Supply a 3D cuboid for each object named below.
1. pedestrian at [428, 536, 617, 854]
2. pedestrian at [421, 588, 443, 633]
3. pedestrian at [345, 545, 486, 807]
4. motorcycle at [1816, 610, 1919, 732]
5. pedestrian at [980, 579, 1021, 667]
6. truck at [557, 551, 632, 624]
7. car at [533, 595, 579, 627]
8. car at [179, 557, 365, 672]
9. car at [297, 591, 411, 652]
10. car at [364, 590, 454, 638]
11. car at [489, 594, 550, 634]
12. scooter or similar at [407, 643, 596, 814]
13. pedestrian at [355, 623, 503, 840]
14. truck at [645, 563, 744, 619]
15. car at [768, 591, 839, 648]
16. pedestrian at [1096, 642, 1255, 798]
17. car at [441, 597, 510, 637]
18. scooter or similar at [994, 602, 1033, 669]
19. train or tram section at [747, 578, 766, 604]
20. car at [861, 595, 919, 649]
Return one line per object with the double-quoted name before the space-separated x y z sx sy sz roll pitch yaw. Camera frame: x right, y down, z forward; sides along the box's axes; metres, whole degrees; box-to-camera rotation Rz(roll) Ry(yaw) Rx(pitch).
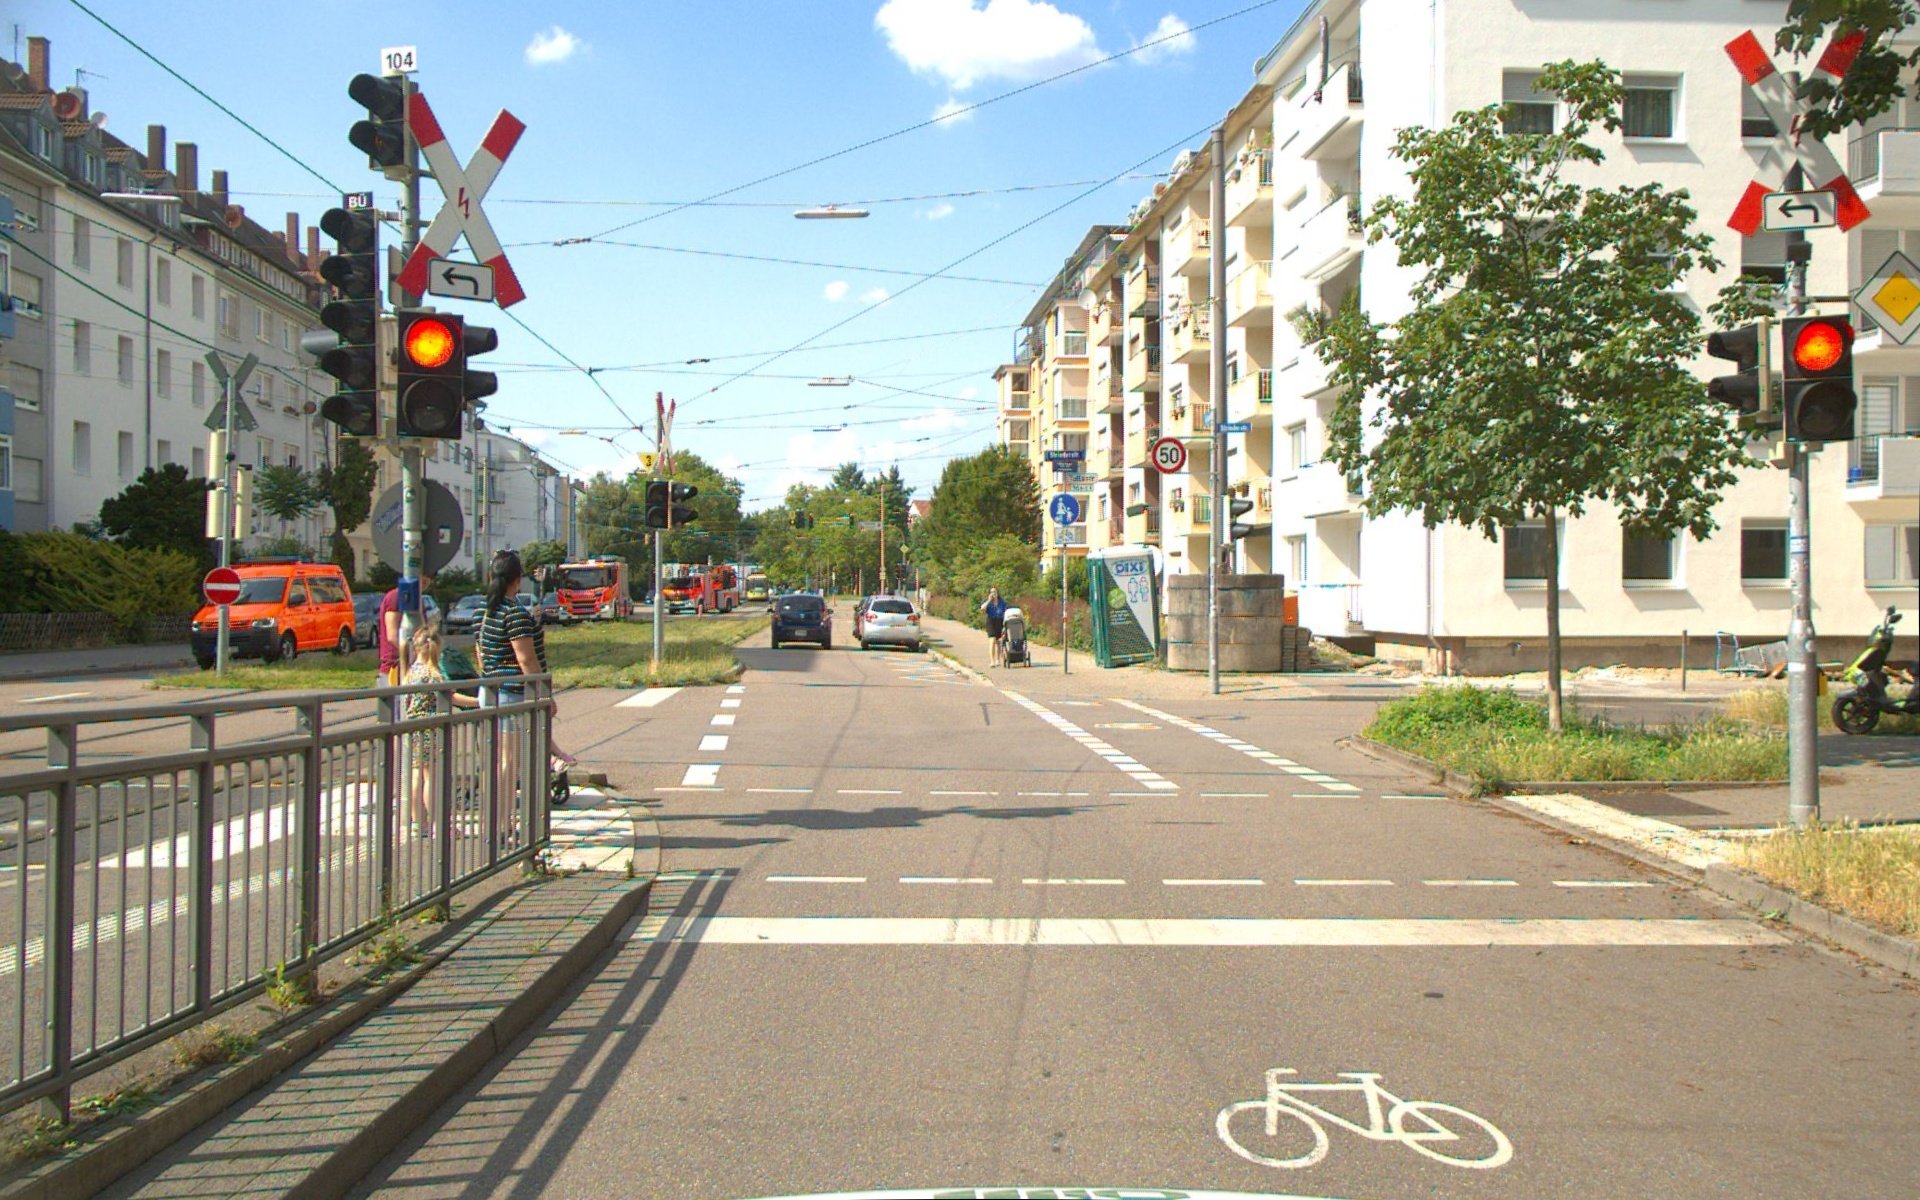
"pedestrian" -2.498 0.509 9.421 0.837 1.697 0.790 0 -1 -33
"pedestrian" -21.470 0.411 67.296 0.692 1.825 0.863 0 0 -7
"pedestrian" -3.617 0.495 11.025 0.691 1.677 0.636 2 -1 -3
"motorcycle" 10.218 0.750 17.671 0.565 1.236 1.826 -5 2 -32
"pedestrian" 0.856 0.486 35.267 0.687 1.820 1.029 -3 0 -5
"truck" -17.276 -0.556 78.639 2.546 3.241 8.370 0 0 -6
"car" -20.755 0.561 85.117 1.742 1.584 3.995 1 0 -6
"car" -14.843 0.276 36.019 1.952 2.315 4.834 -1 0 1
"car" -17.607 0.603 48.234 1.954 1.674 3.998 1 0 -3
"car" -18.004 0.444 54.242 1.733 1.467 3.998 1 0 -3
"car" -19.949 0.630 75.071 1.954 1.741 3.996 1 0 -5
"scooter or similar" -3.042 0.844 11.046 1.078 1.074 0.650 1 0 -4
"pedestrian" -3.141 0.743 9.769 0.631 1.201 0.789 0 -1 -35
"truck" -17.990 -0.540 112.797 2.610 3.531 10.174 1 0 15
"car" -4.453 0.546 47.472 1.709 1.533 3.999 1 0 -2
"pedestrian" 3.168 1.721 25.085 1.952 2.049 4.001 1 0 1
"car" -18.757 0.639 64.194 1.733 1.467 3.996 1 0 -4
"scooter or similar" 1.115 0.729 34.436 0.649 1.326 0.868 -3 0 -4
"train or tram section" -25.121 -1.067 204.382 2.215 3.122 8.122 0 0 -6
"car" -2.057 0.618 48.281 1.590 1.490 3.508 1 0 -3
